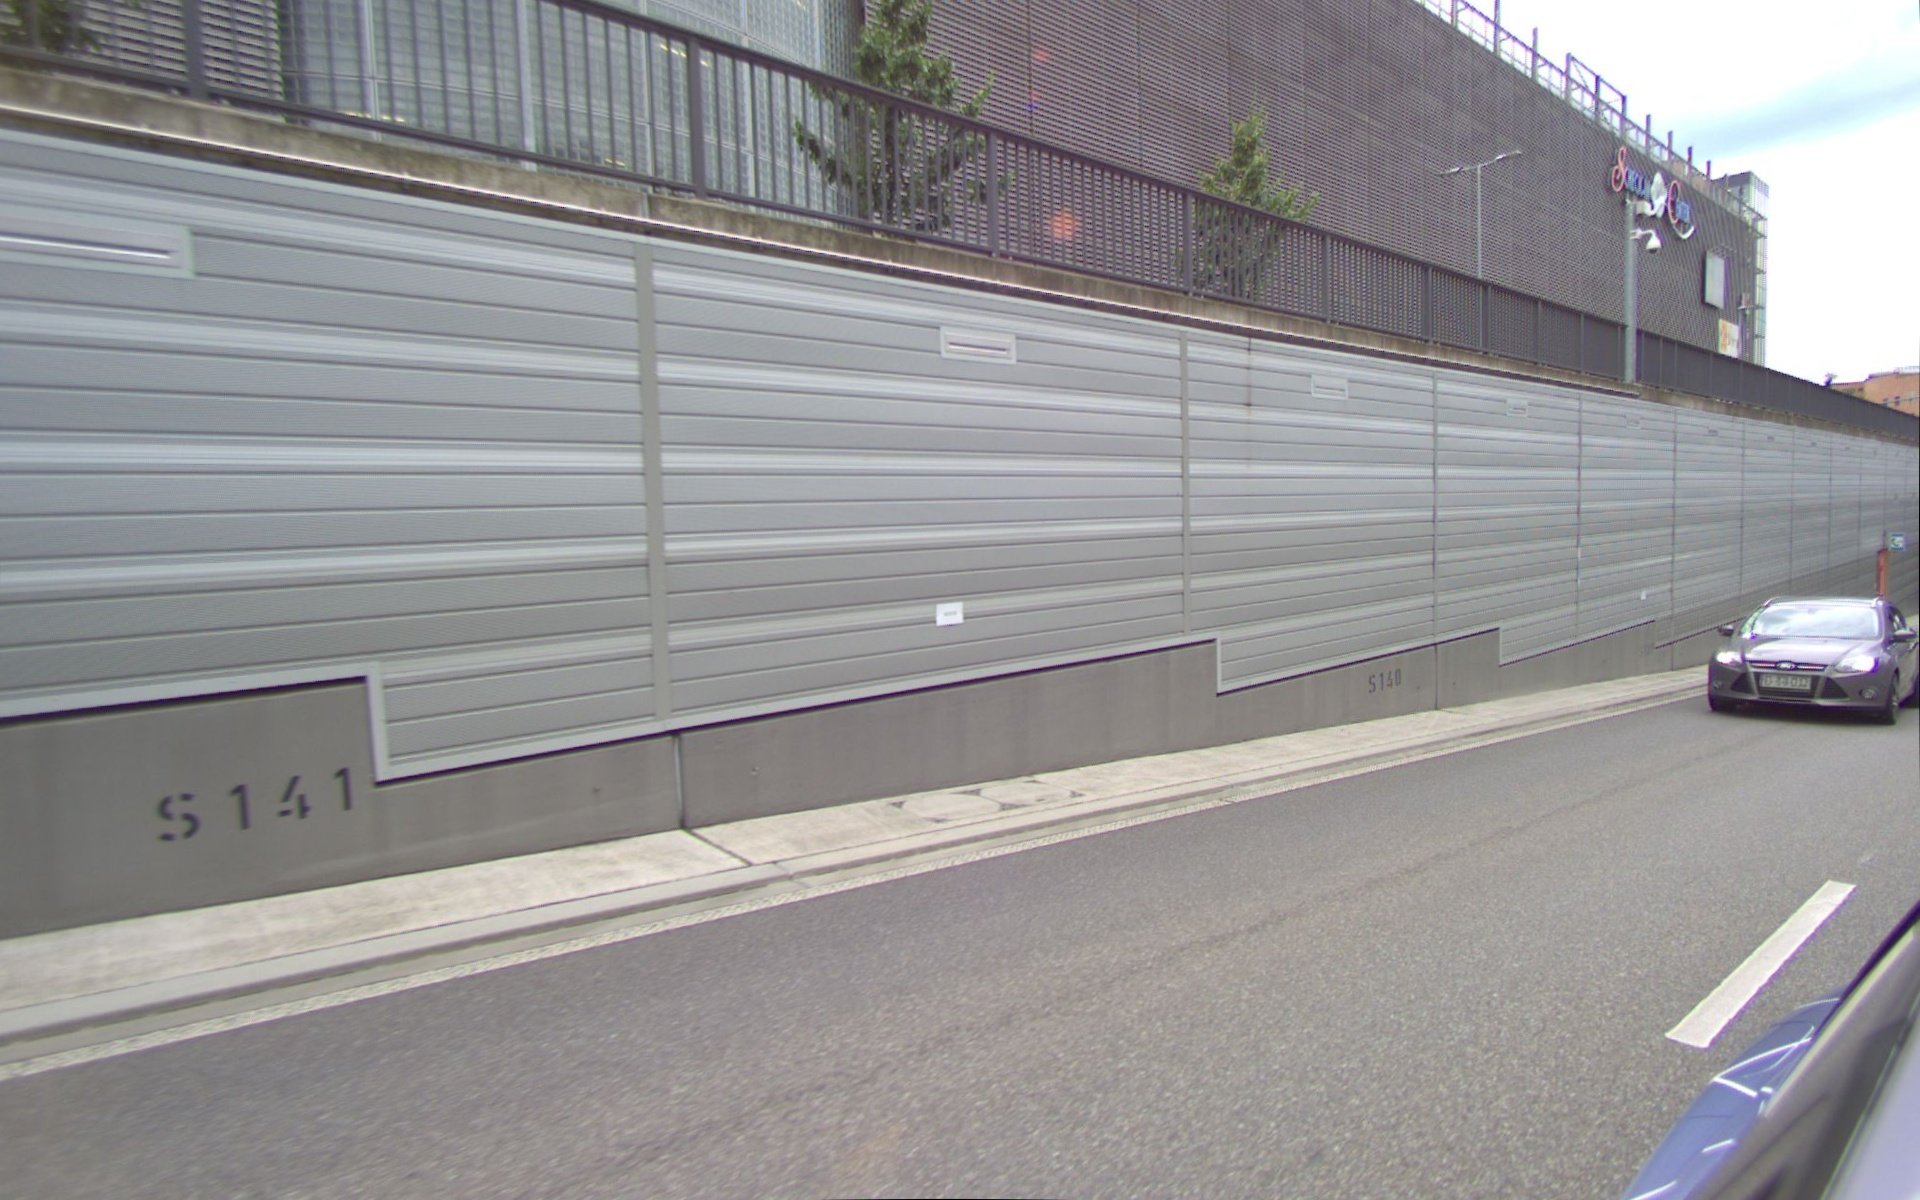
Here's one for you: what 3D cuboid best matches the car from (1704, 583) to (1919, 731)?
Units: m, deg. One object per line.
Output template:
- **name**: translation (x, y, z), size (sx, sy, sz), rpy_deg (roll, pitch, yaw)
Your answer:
- **car**: translation (11.348, 0.595, 13.165), size (4.194, 1.518, 1.751), rpy_deg (-2, 2, -40)
